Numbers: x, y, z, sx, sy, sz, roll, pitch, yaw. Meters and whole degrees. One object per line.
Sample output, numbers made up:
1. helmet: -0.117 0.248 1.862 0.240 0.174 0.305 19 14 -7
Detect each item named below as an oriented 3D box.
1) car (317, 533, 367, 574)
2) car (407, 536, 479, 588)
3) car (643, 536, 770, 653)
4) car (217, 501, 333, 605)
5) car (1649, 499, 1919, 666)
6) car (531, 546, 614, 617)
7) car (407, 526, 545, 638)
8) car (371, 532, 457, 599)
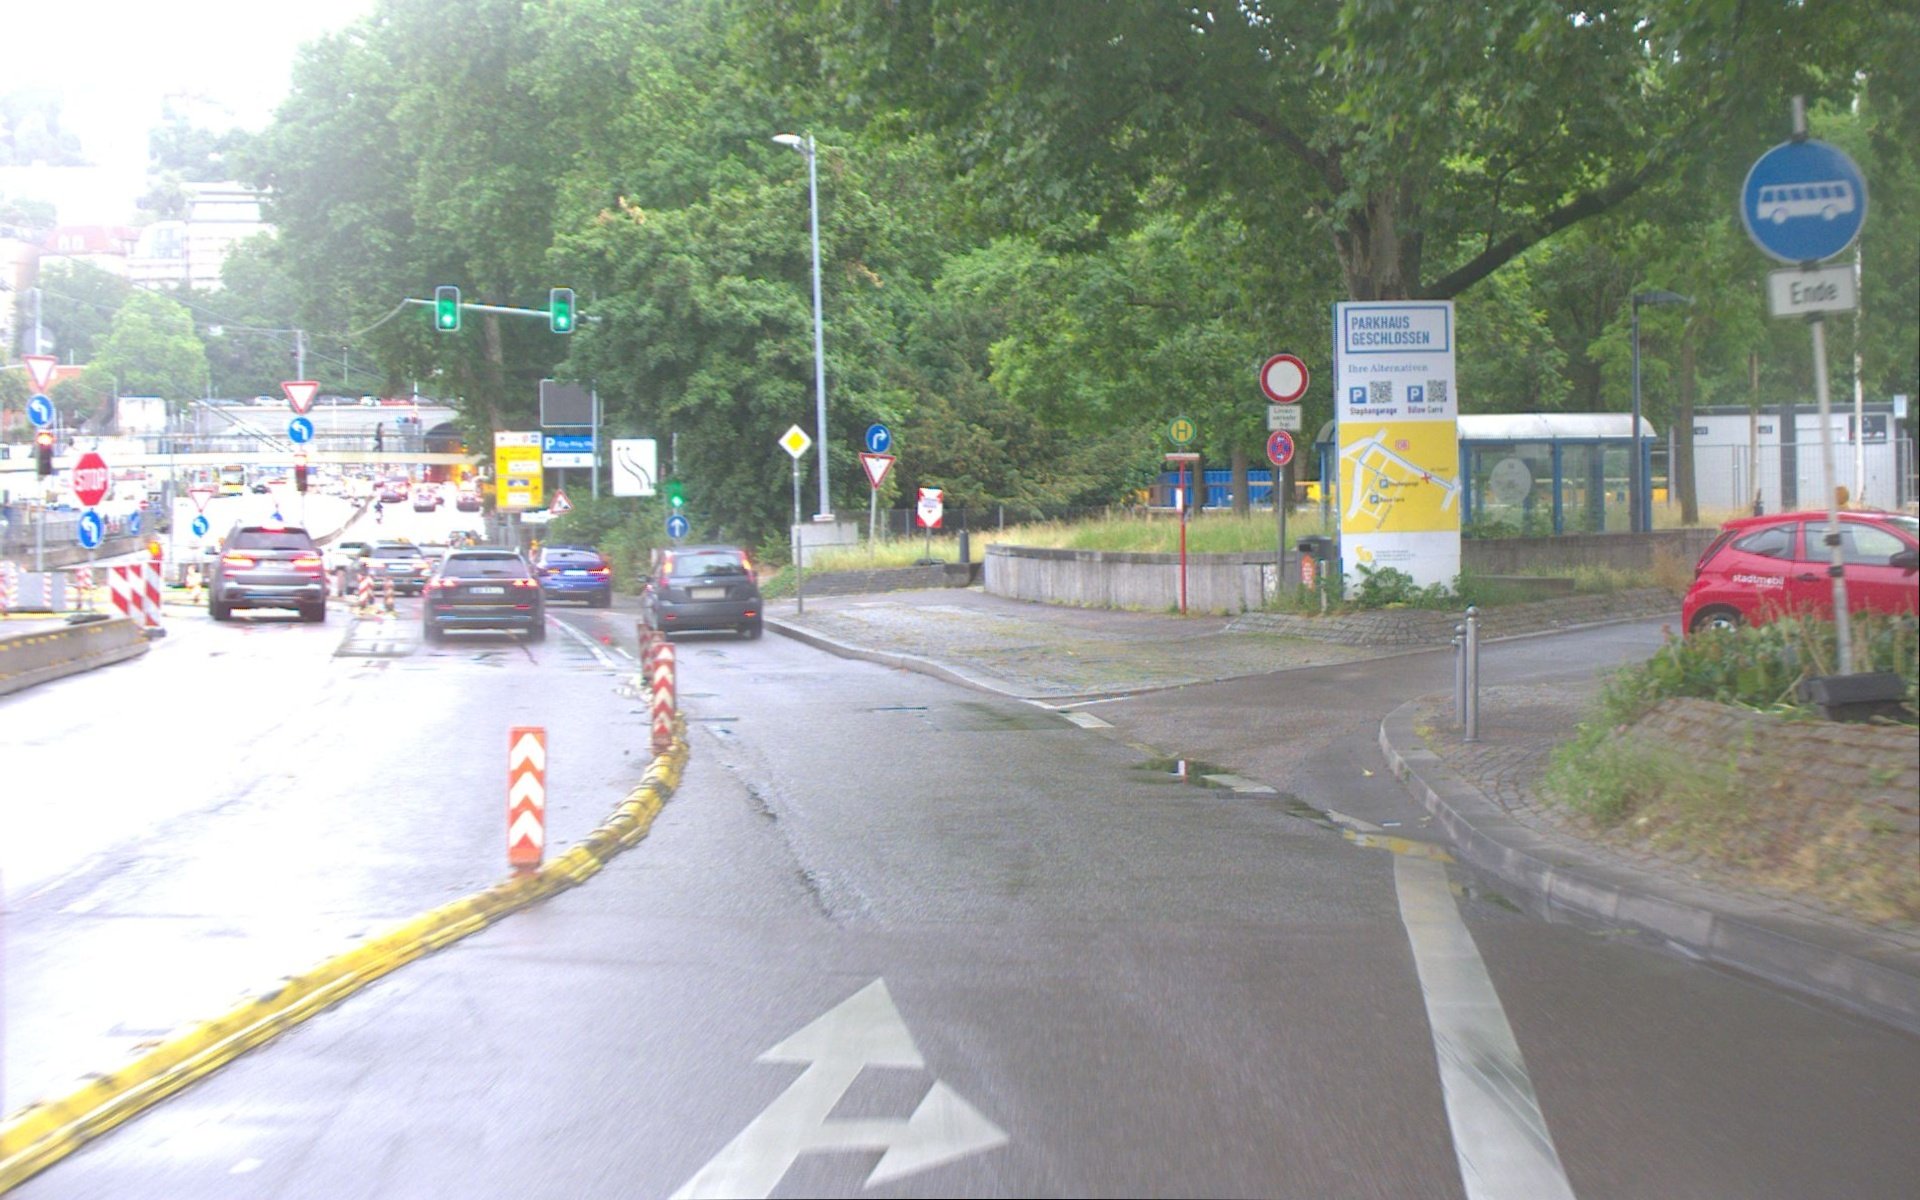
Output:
1. car: -24.835 -1.869 138.106 1.813 1.569 4.001 1 1 -13
2. car: -16.672 -1.247 110.809 1.634 1.619 3.796 1 1 -19
3. car: -3.909 -0.114 53.103 1.851 1.711 4.001 1 1 -4
4. car: -12.639 -0.867 63.302 1.993 1.820 4.001 1 1 -12
5. car: 8.523 -0.172 32.257 3.615 1.500 1.730 1 1 37
6. car: -8.953 -0.443 79.685 1.674 1.576 3.240 1 1 -3
7. car: -7.568 -0.319 54.082 1.830 1.680 4.135 0 1 -4
8. car: -14.524 -0.922 91.694 1.903 1.711 4.001 1 1 -4
